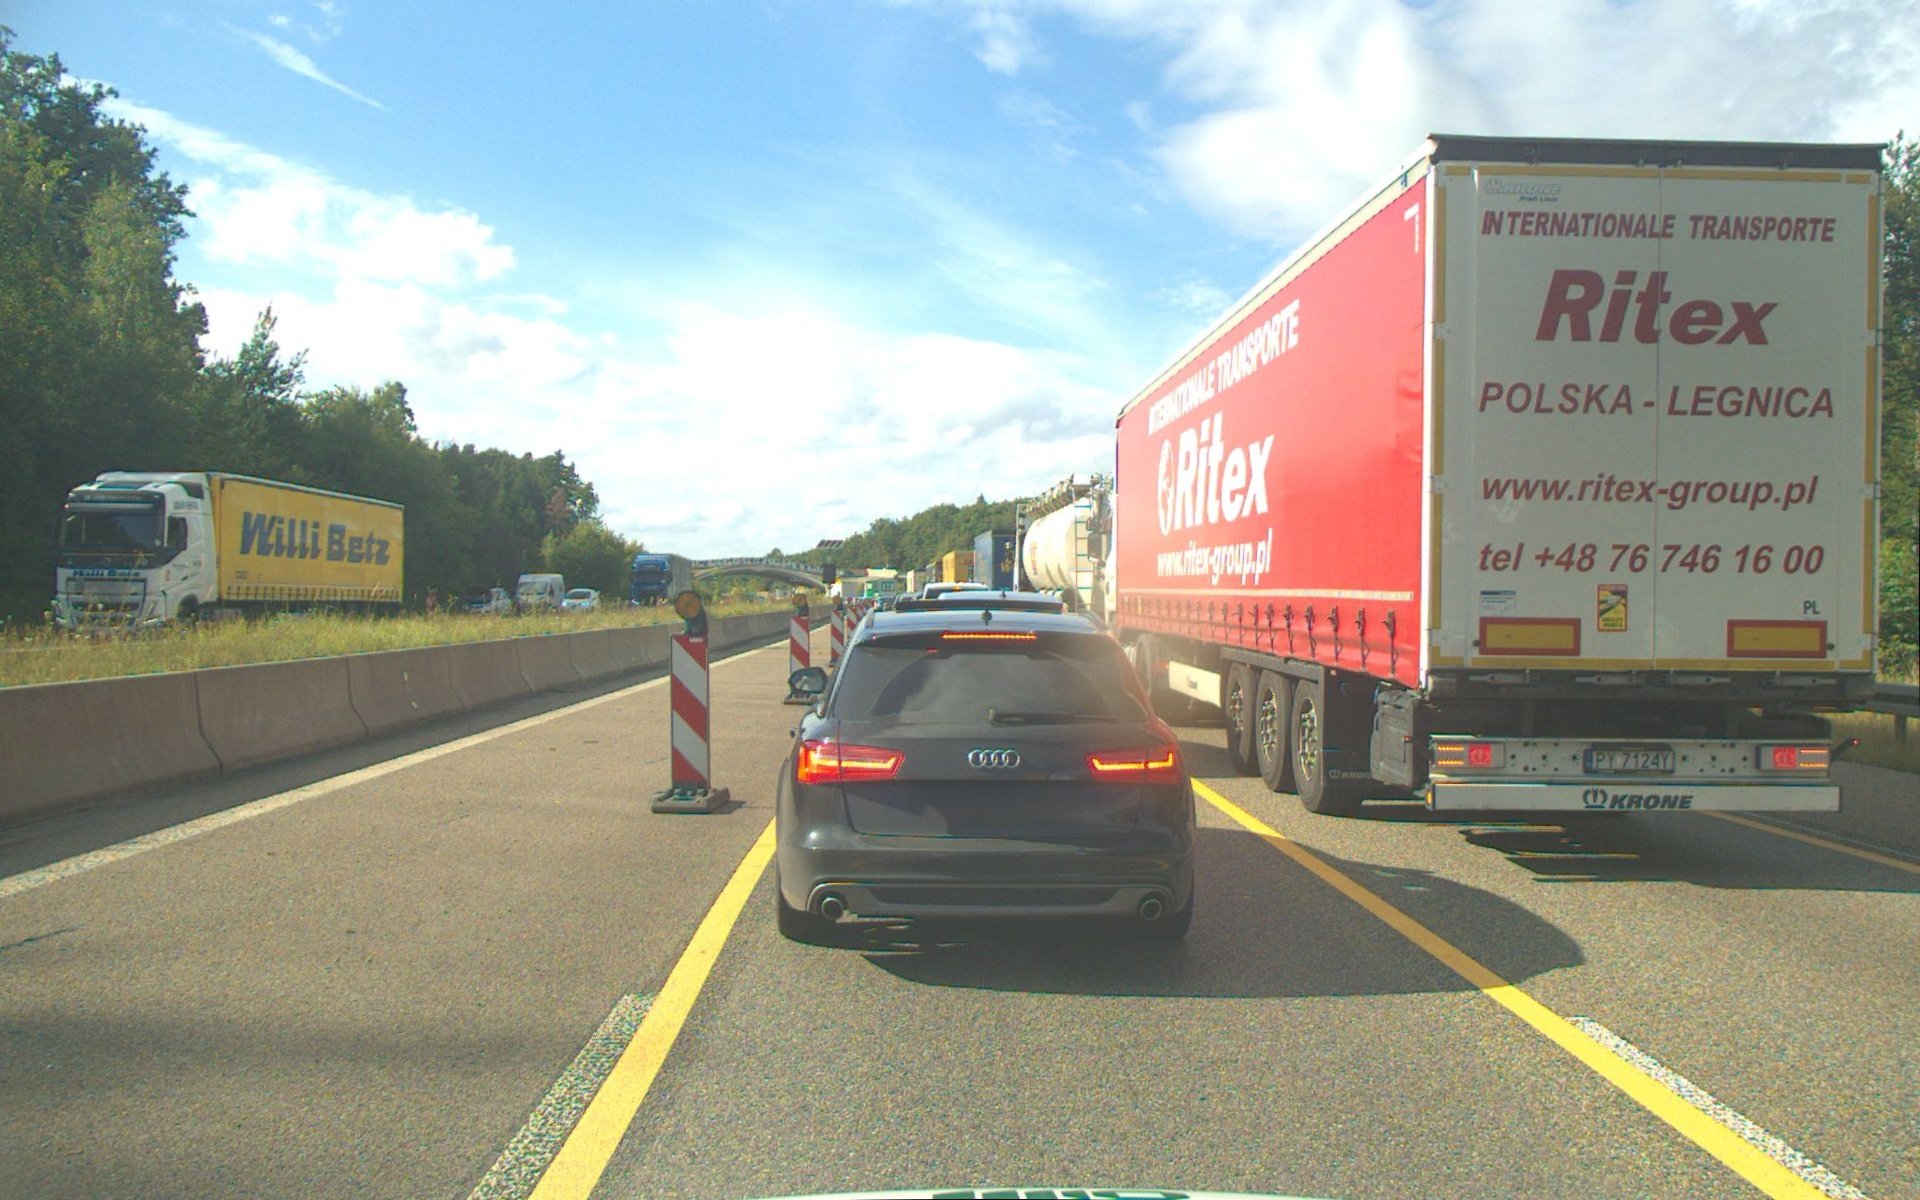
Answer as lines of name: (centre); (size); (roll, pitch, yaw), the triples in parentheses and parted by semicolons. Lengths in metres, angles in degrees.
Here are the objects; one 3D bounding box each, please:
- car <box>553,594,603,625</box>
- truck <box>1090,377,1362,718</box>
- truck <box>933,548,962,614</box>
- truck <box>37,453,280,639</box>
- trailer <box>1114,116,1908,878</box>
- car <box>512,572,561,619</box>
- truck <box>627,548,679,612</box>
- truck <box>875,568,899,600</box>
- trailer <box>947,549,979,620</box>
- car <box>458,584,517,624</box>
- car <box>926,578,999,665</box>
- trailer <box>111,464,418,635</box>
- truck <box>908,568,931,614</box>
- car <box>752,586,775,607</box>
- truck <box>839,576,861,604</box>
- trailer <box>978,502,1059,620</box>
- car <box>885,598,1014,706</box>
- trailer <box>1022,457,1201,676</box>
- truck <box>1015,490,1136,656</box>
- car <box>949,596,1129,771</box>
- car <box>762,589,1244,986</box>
car: (-20.256, 0.508, 87.810); (1.751, 1.588, 3.999); (1, 0, -1)
truck: (3.405, -0.632, 22.609); (2.614, 4.029, 5.709); (1, 0, -2)
truck: (-1.010, -1.434, 130.250); (1.953, 5.000, 9.558); (1, 0, -2)
truck: (-18.597, -1.162, 38.826); (2.769, 3.977, 5.947); (1, 0, -1)
trailer: (3.594, -0.564, 15.569); (2.645, 4.038, 13.413); (1, 0, -1)
car: (-24.829, -0.249, 97.066); (2.208, 2.689, 5.010); (1, 0, -8)
truck: (-21.161, -1.362, 114.260); (2.584, 4.262, 5.466); (1, 0, -1)
truck: (-9.958, -2.145, 226.012); (3.238, 4.248, 9.696); (1, 0, -3)
trailer: (0.147, -0.860, 96.815); (1.584, 3.987, 6.487); (1, 0, -2)
car: (-24.883, 0.220, 87.202); (1.953, 2.049, 3.999); (1, 0, -1)
car: (0.025, 0.475, 37.399); (1.549, 1.869, 3.111); (1, 0, -1)
trailer: (-18.733, -1.158, 46.112); (2.770, 3.991, 13.937); (1, 0, -1)
truck: (-3.958, -0.827, 162.202); (2.094, 4.332, 7.069); (1, 0, -1)
car: (-19.199, -0.347, 161.617); (1.954, 1.982, 3.998); (1, 0, -3)
truck: (-17.300, -1.506, 259.283); (3.239, 4.248, 9.692); (1, 0, -5)
trailer: (2.324, -1.466, 69.028); (2.748, 4.490, 10.430); (1, 0, -1)
car: (-0.166, 0.709, 24.037); (1.716, 1.421, 3.607); (1, 0, -1)
trailer: (3.057, -0.621, 37.030); (2.590, 4.012, 12.595); (1, 0, -1)
truck: (2.937, -0.648, 43.514); (2.605, 4.041, 5.777); (1, 0, -1)
car: (0.661, 0.722, 15.776); (1.493, 1.464, 3.284); (1, 0, -1)
car: (0.139, 0.723, 8.253); (1.811, 1.489, 3.999); (1, 0, -1)
